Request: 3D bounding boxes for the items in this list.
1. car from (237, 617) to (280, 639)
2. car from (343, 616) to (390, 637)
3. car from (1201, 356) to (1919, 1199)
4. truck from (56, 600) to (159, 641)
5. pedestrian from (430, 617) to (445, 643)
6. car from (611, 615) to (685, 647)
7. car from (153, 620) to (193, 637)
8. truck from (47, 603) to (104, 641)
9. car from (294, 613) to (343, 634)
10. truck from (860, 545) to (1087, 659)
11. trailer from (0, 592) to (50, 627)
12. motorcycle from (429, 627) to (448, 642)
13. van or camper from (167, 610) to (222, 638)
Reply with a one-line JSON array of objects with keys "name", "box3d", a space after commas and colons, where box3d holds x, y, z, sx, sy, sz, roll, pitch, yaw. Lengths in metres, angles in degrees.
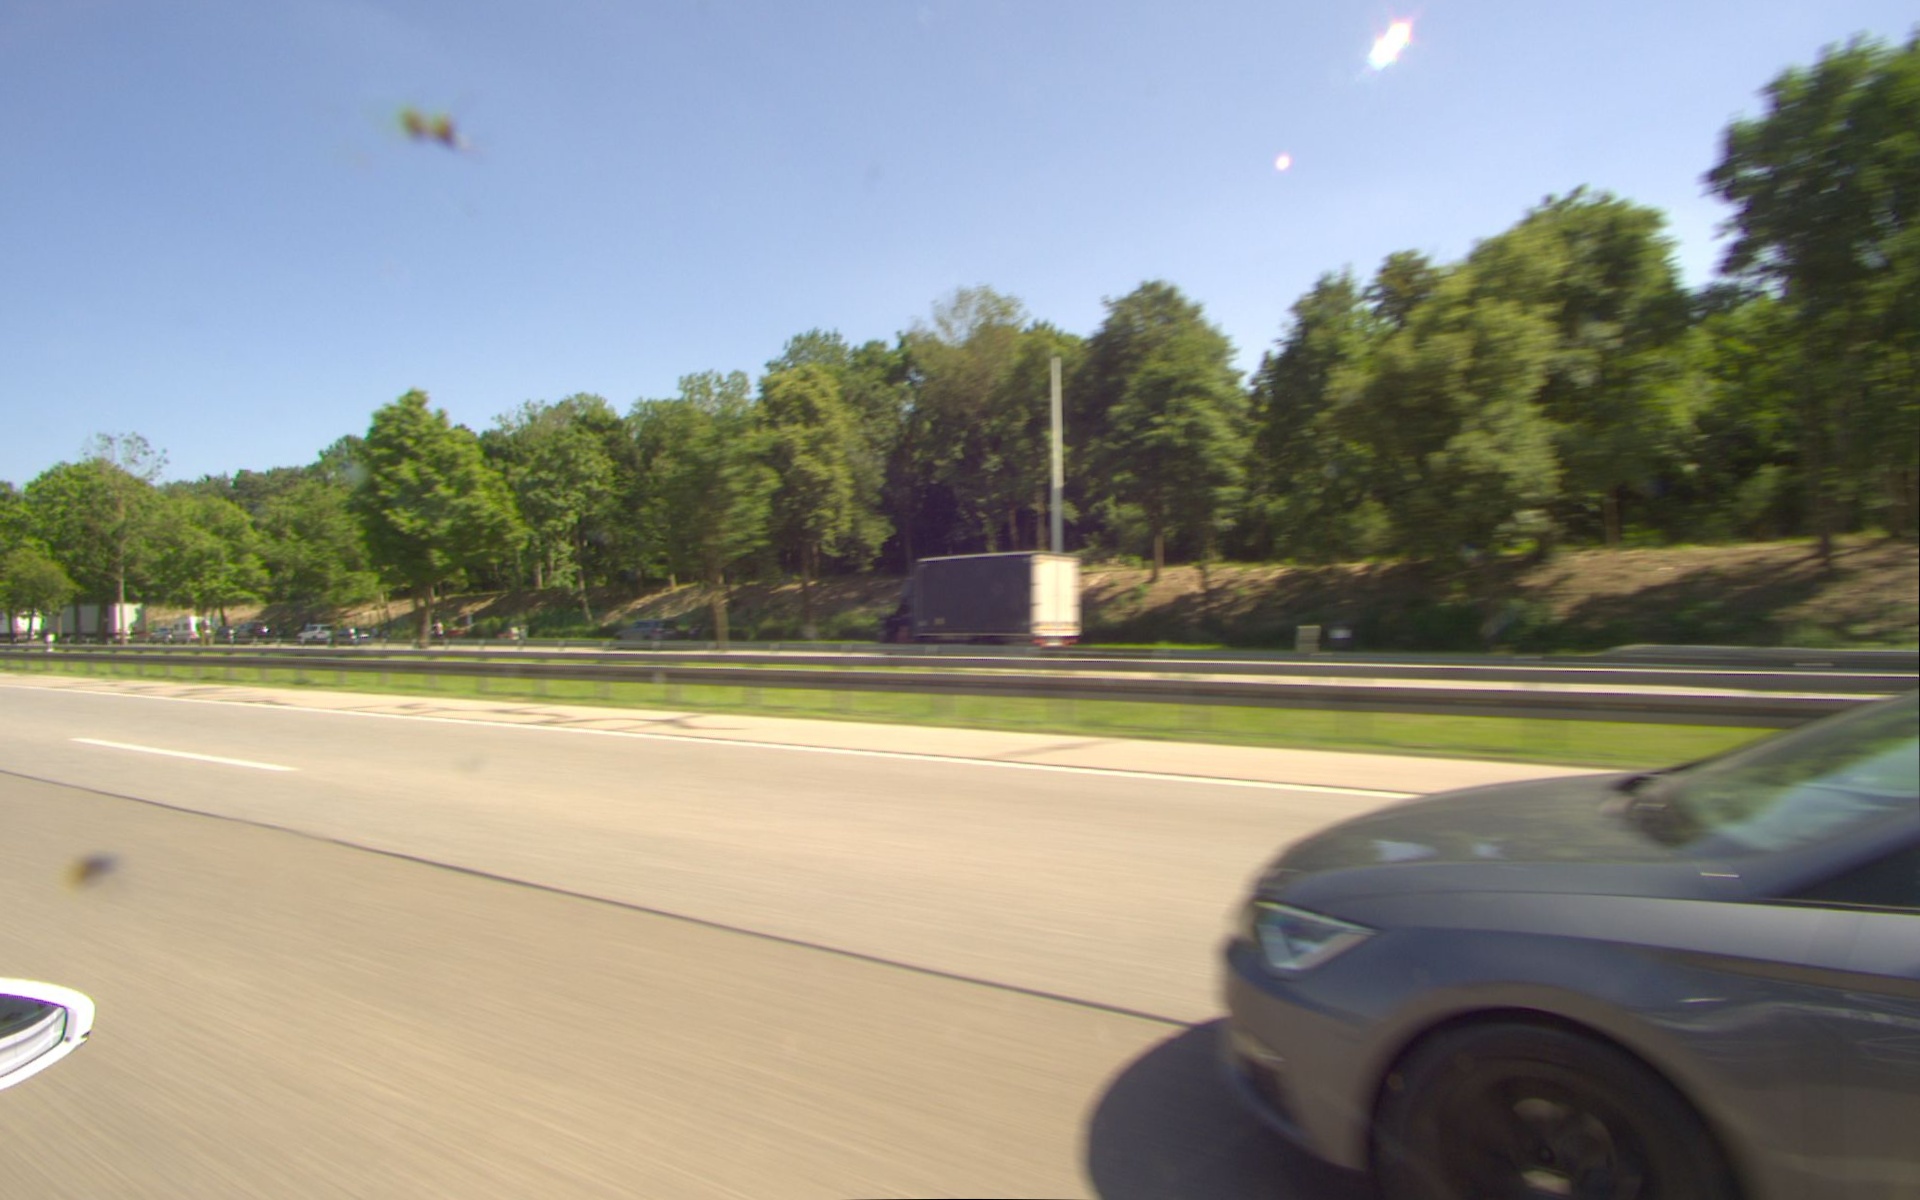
[{"name": "car", "box3d": [-60.938, 2.425, 86.909, 4.738, 1.902, 1.650, -1, 0, 37]}, {"name": "car", "box3d": [-46.844, 2.071, 79.024, 3.954, 1.594, 1.984, -1, 0, 41]}, {"name": "car", "box3d": [3.018, 0.521, 1.798, 4.756, 1.901, 1.662, -1, 1, 31]}, {"name": "truck", "box3d": [-88.228, 2.175, 103.517, 14.235, 3.982, 2.994, -1, 0, 28]}, {"name": "pedestrian", "box3d": [-36.811, 2.098, 70.523, 0.793, 1.806, 0.636, -1, 1, -45]}, {"name": "car", "box3d": [-17.310, 1.688, 55.412, 4.269, 1.673, 1.983, -1, 0, 41]}, {"name": "car", "box3d": [-76.155, 2.793, 96.882, 4.489, 1.618, 1.653, -1, 0, 32]}, {"name": "truck", "box3d": [-94.205, 2.315, 106.665, 4.758, 3.983, 2.968, -1, 0, 28]}, {"name": "car", "box3d": [-52.616, 1.942, 82.109, 4.587, 1.697, 1.652, -1, 0, 34]}, {"name": "truck", "box3d": [0.308, 0.095, 39.567, 9.250, 4.000, 3.266, -1, 1, 44]}, {"name": "trailer", "box3d": [-108.114, 1.134, 112.963, 13.958, 3.846, 2.858, -1, 0, 25]}, {"name": "motorcycle", "box3d": [-37.612, 2.496, 72.188, 1.652, 1.044, 0.556, -1, 0, 38]}, {"name": "van or camper", "box3d": [-71.710, 2.255, 93.794, 5.792, 2.564, 2.199, -1, 0, 32]}]
